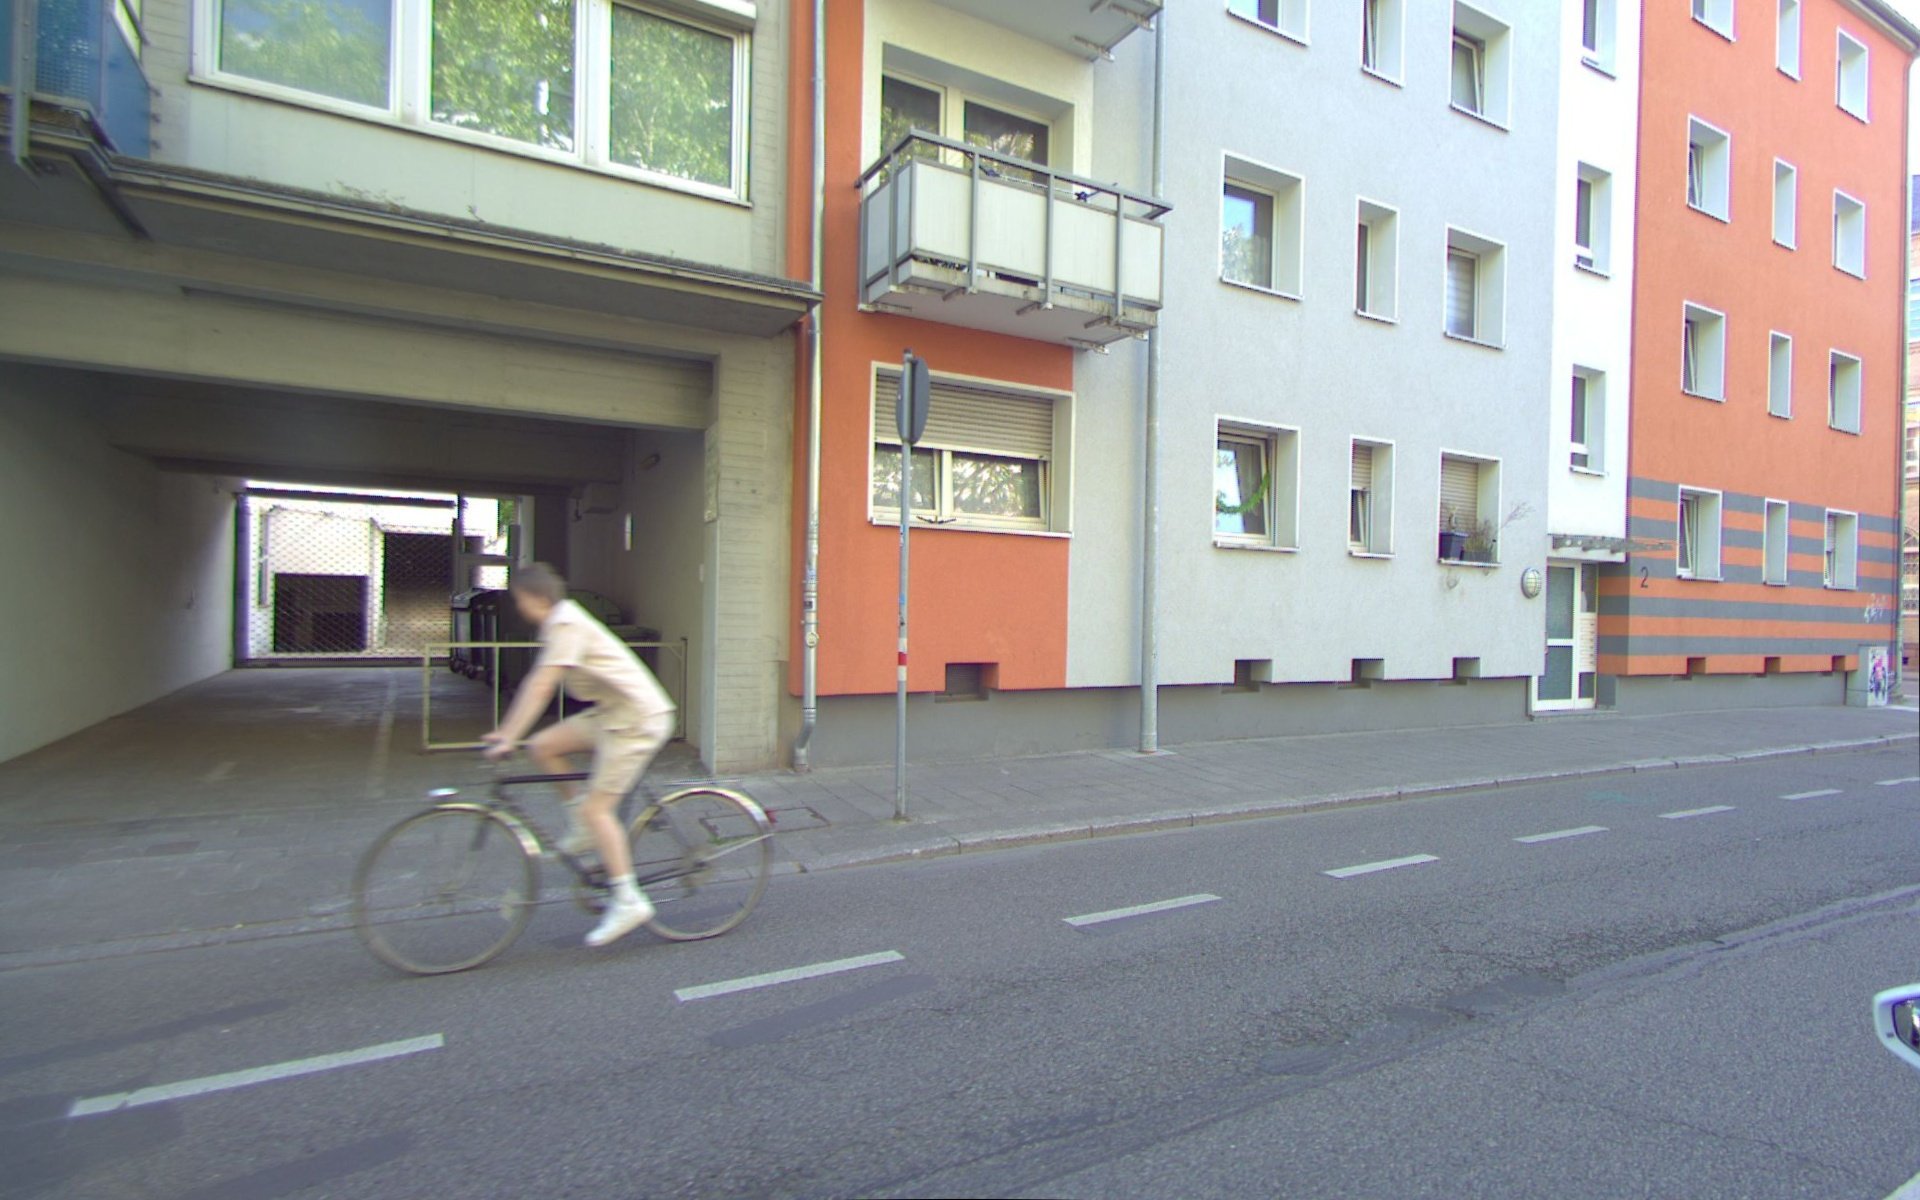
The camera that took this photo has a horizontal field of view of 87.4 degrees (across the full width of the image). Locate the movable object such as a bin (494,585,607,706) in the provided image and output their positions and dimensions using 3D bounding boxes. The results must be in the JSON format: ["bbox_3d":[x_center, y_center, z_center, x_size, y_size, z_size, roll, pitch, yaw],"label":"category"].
[{"bbox_3d":[-5.441,0.580,13.300,1.264,1.493,1.266,2,-1,-27],"label":"movable object such as a bin"}]

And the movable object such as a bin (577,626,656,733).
[{"bbox_3d":[-3.621,0.820,10.564,0.694,1.061,0.567,2,0,-27],"label":"movable object such as a bin"}]

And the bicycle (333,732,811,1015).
[{"bbox_3d":[-1.626,1.099,4.392,1.845,0.903,0.545,2,0,-30],"label":"bicycle"}]

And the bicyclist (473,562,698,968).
[{"bbox_3d":[-1.641,0.647,4.378,0.797,1.579,0.645,1,0,-30],"label":"bicyclist"}]

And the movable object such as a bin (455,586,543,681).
[{"bbox_3d":[-7.748,0.546,16.867,1.264,1.506,1.155,2,0,-27],"label":"movable object such as a bin"}]

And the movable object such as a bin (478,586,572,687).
[{"bbox_3d":[-6.899,0.559,15.909,1.264,1.515,1.155,2,0,-27],"label":"movable object such as a bin"}]

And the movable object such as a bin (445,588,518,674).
[{"bbox_3d":[-8.647,0.550,18.138,1.128,1.484,1.129,2,0,-27],"label":"movable object such as a bin"}]

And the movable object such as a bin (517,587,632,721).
[{"bbox_3d":[-4.598,0.607,11.932,1.128,1.484,1.255,2,0,-27],"label":"movable object such as a bin"}]

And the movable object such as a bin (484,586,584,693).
[{"bbox_3d":[-6.313,0.563,14.851,1.264,1.506,1.155,2,0,-27],"label":"movable object such as a bin"}]
